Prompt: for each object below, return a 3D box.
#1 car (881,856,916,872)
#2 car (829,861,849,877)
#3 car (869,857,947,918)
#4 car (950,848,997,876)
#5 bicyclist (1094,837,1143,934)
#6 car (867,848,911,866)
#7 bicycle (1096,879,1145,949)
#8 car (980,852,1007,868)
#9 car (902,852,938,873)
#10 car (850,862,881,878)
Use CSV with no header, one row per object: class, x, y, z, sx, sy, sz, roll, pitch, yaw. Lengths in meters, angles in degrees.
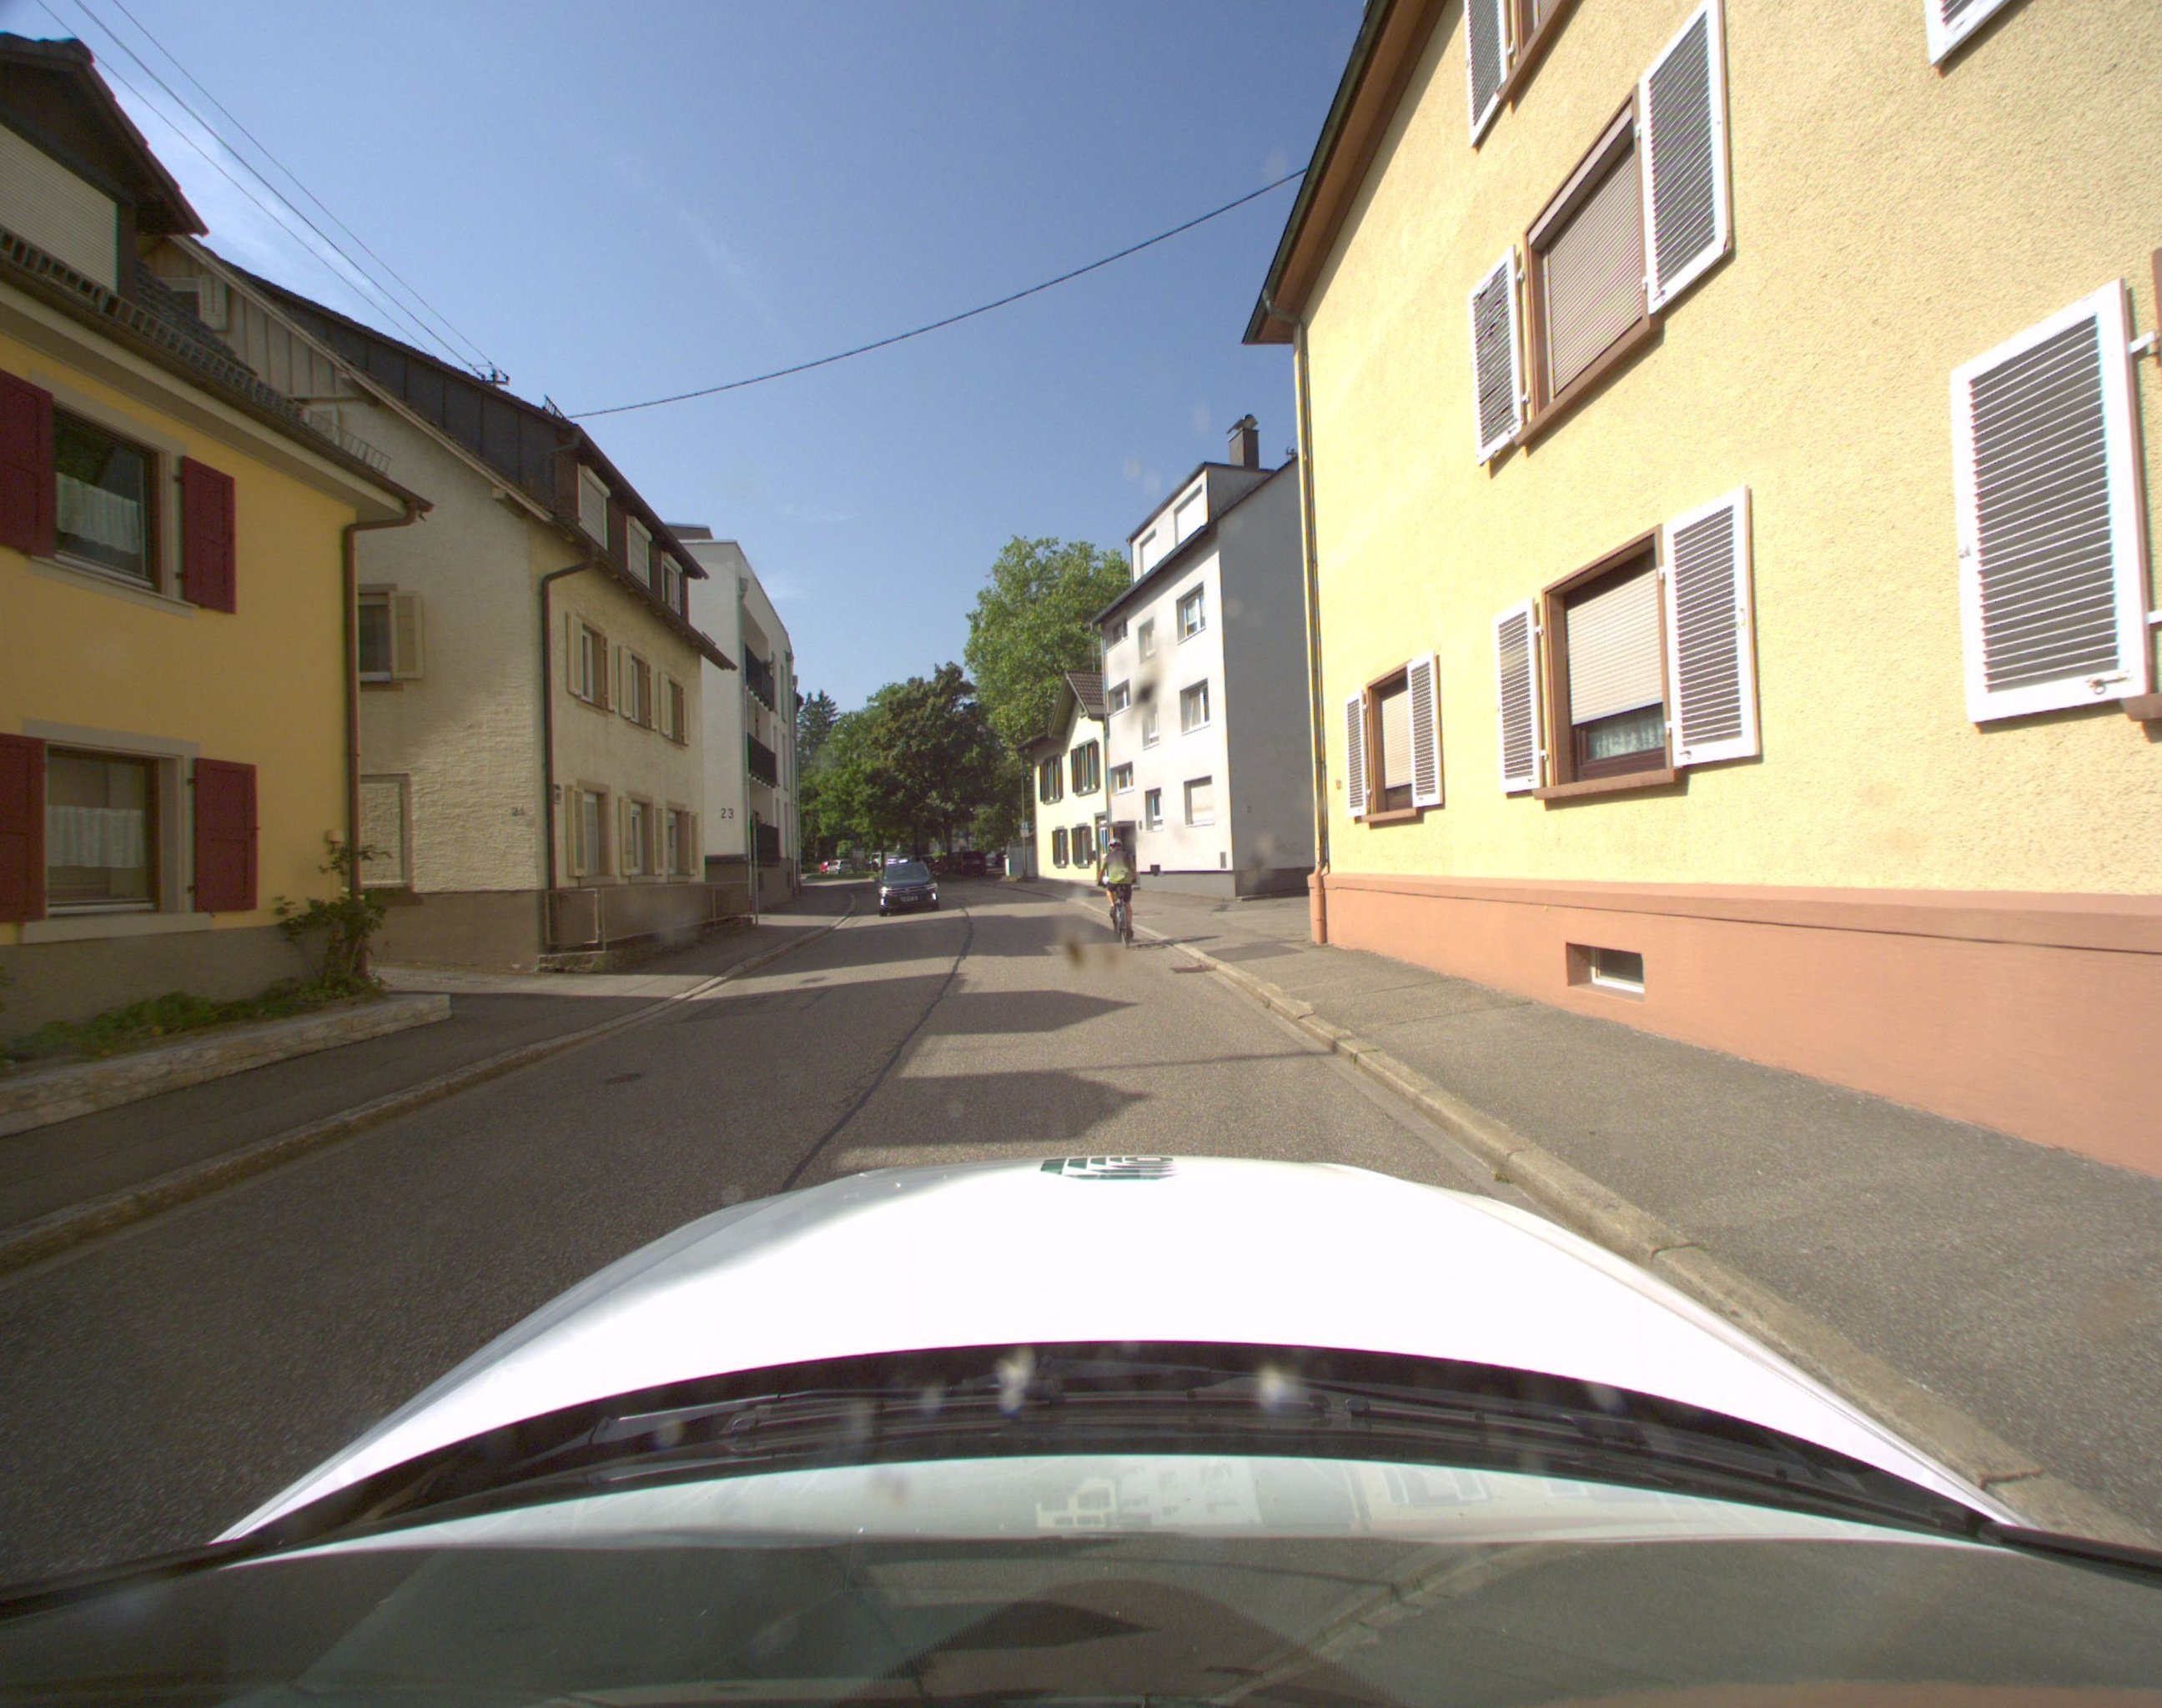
car,-19.378,1.082,86.692,1.795,1.552,4.018,-2,0,17
car,-24.985,1.508,83.989,1.749,1.552,3.729,-2,0,-19
car,-5.282,0.961,25.391,1.822,1.537,3.992,-6,1,-6
car,-7.499,0.546,56.557,1.833,1.791,3.963,-3,2,-29
bicyclist,0.608,0.505,13.436,0.683,1.531,0.715,-3,-1,-1
car,-21.236,0.337,90.371,1.974,1.855,4.730,-2,0,31
bicycle,0.632,0.963,13.443,0.696,1.035,1.470,-1,0,-1
car,-7.561,0.540,70.083,1.586,1.257,3.837,-3,0,-15
car,-13.310,0.688,67.161,1.719,1.542,3.963,-3,2,-29
car,-21.083,1.606,79.679,1.686,1.468,3.371,-2,0,-38
